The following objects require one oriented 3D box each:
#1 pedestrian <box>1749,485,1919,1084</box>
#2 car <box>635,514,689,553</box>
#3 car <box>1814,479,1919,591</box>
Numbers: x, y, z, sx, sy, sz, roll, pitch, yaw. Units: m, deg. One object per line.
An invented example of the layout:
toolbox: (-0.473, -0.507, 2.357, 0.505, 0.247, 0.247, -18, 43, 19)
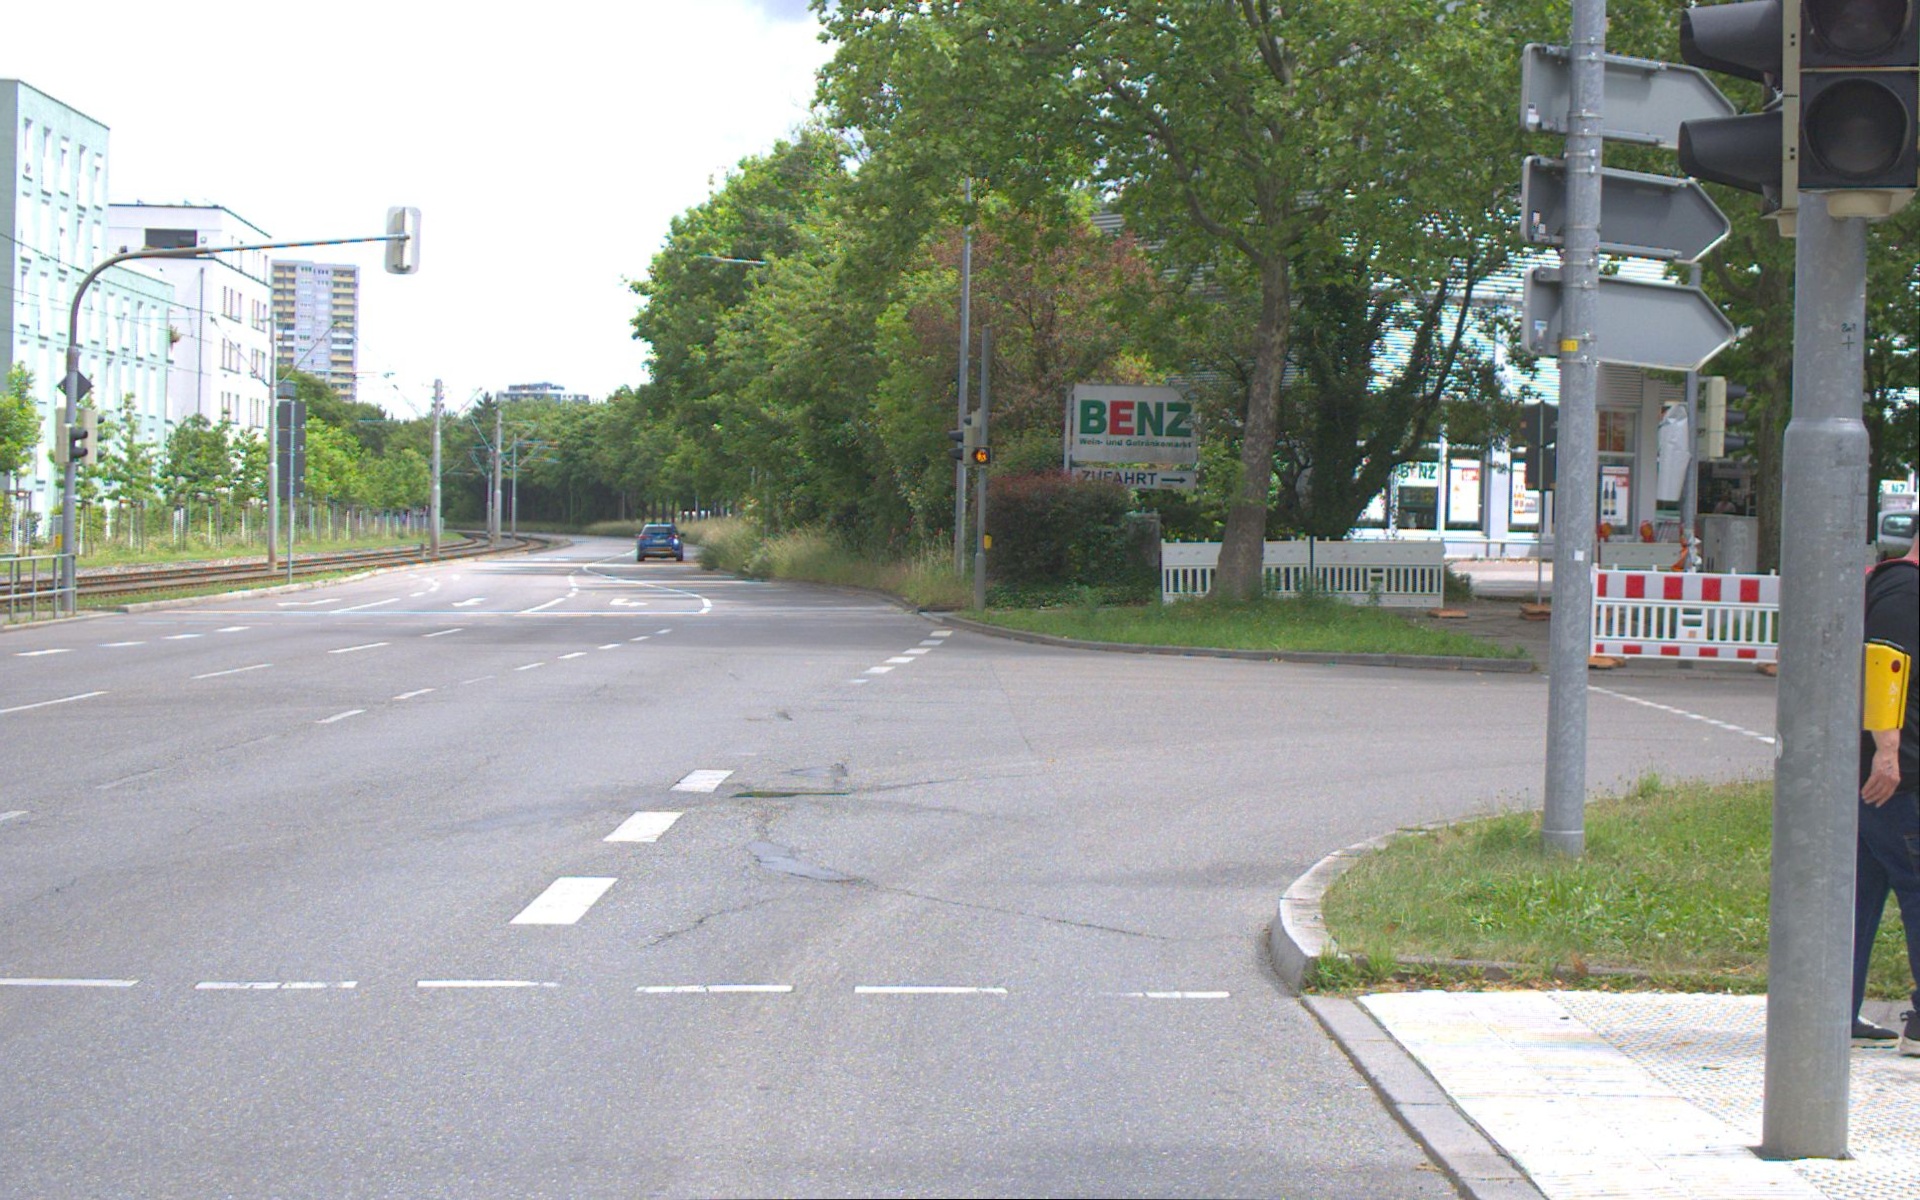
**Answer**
pedestrian: (2.702, 0.484, 9.574, 0.893, 1.591, 0.907, 1, 1, 17)
car: (-11.665, -2.617, 134.387, 1.982, 1.481, 4.492, 0, 1, -6)
car: (17.743, -1.181, 62.559, 1.993, 2.007, 4.000, 0, 2, -32)
